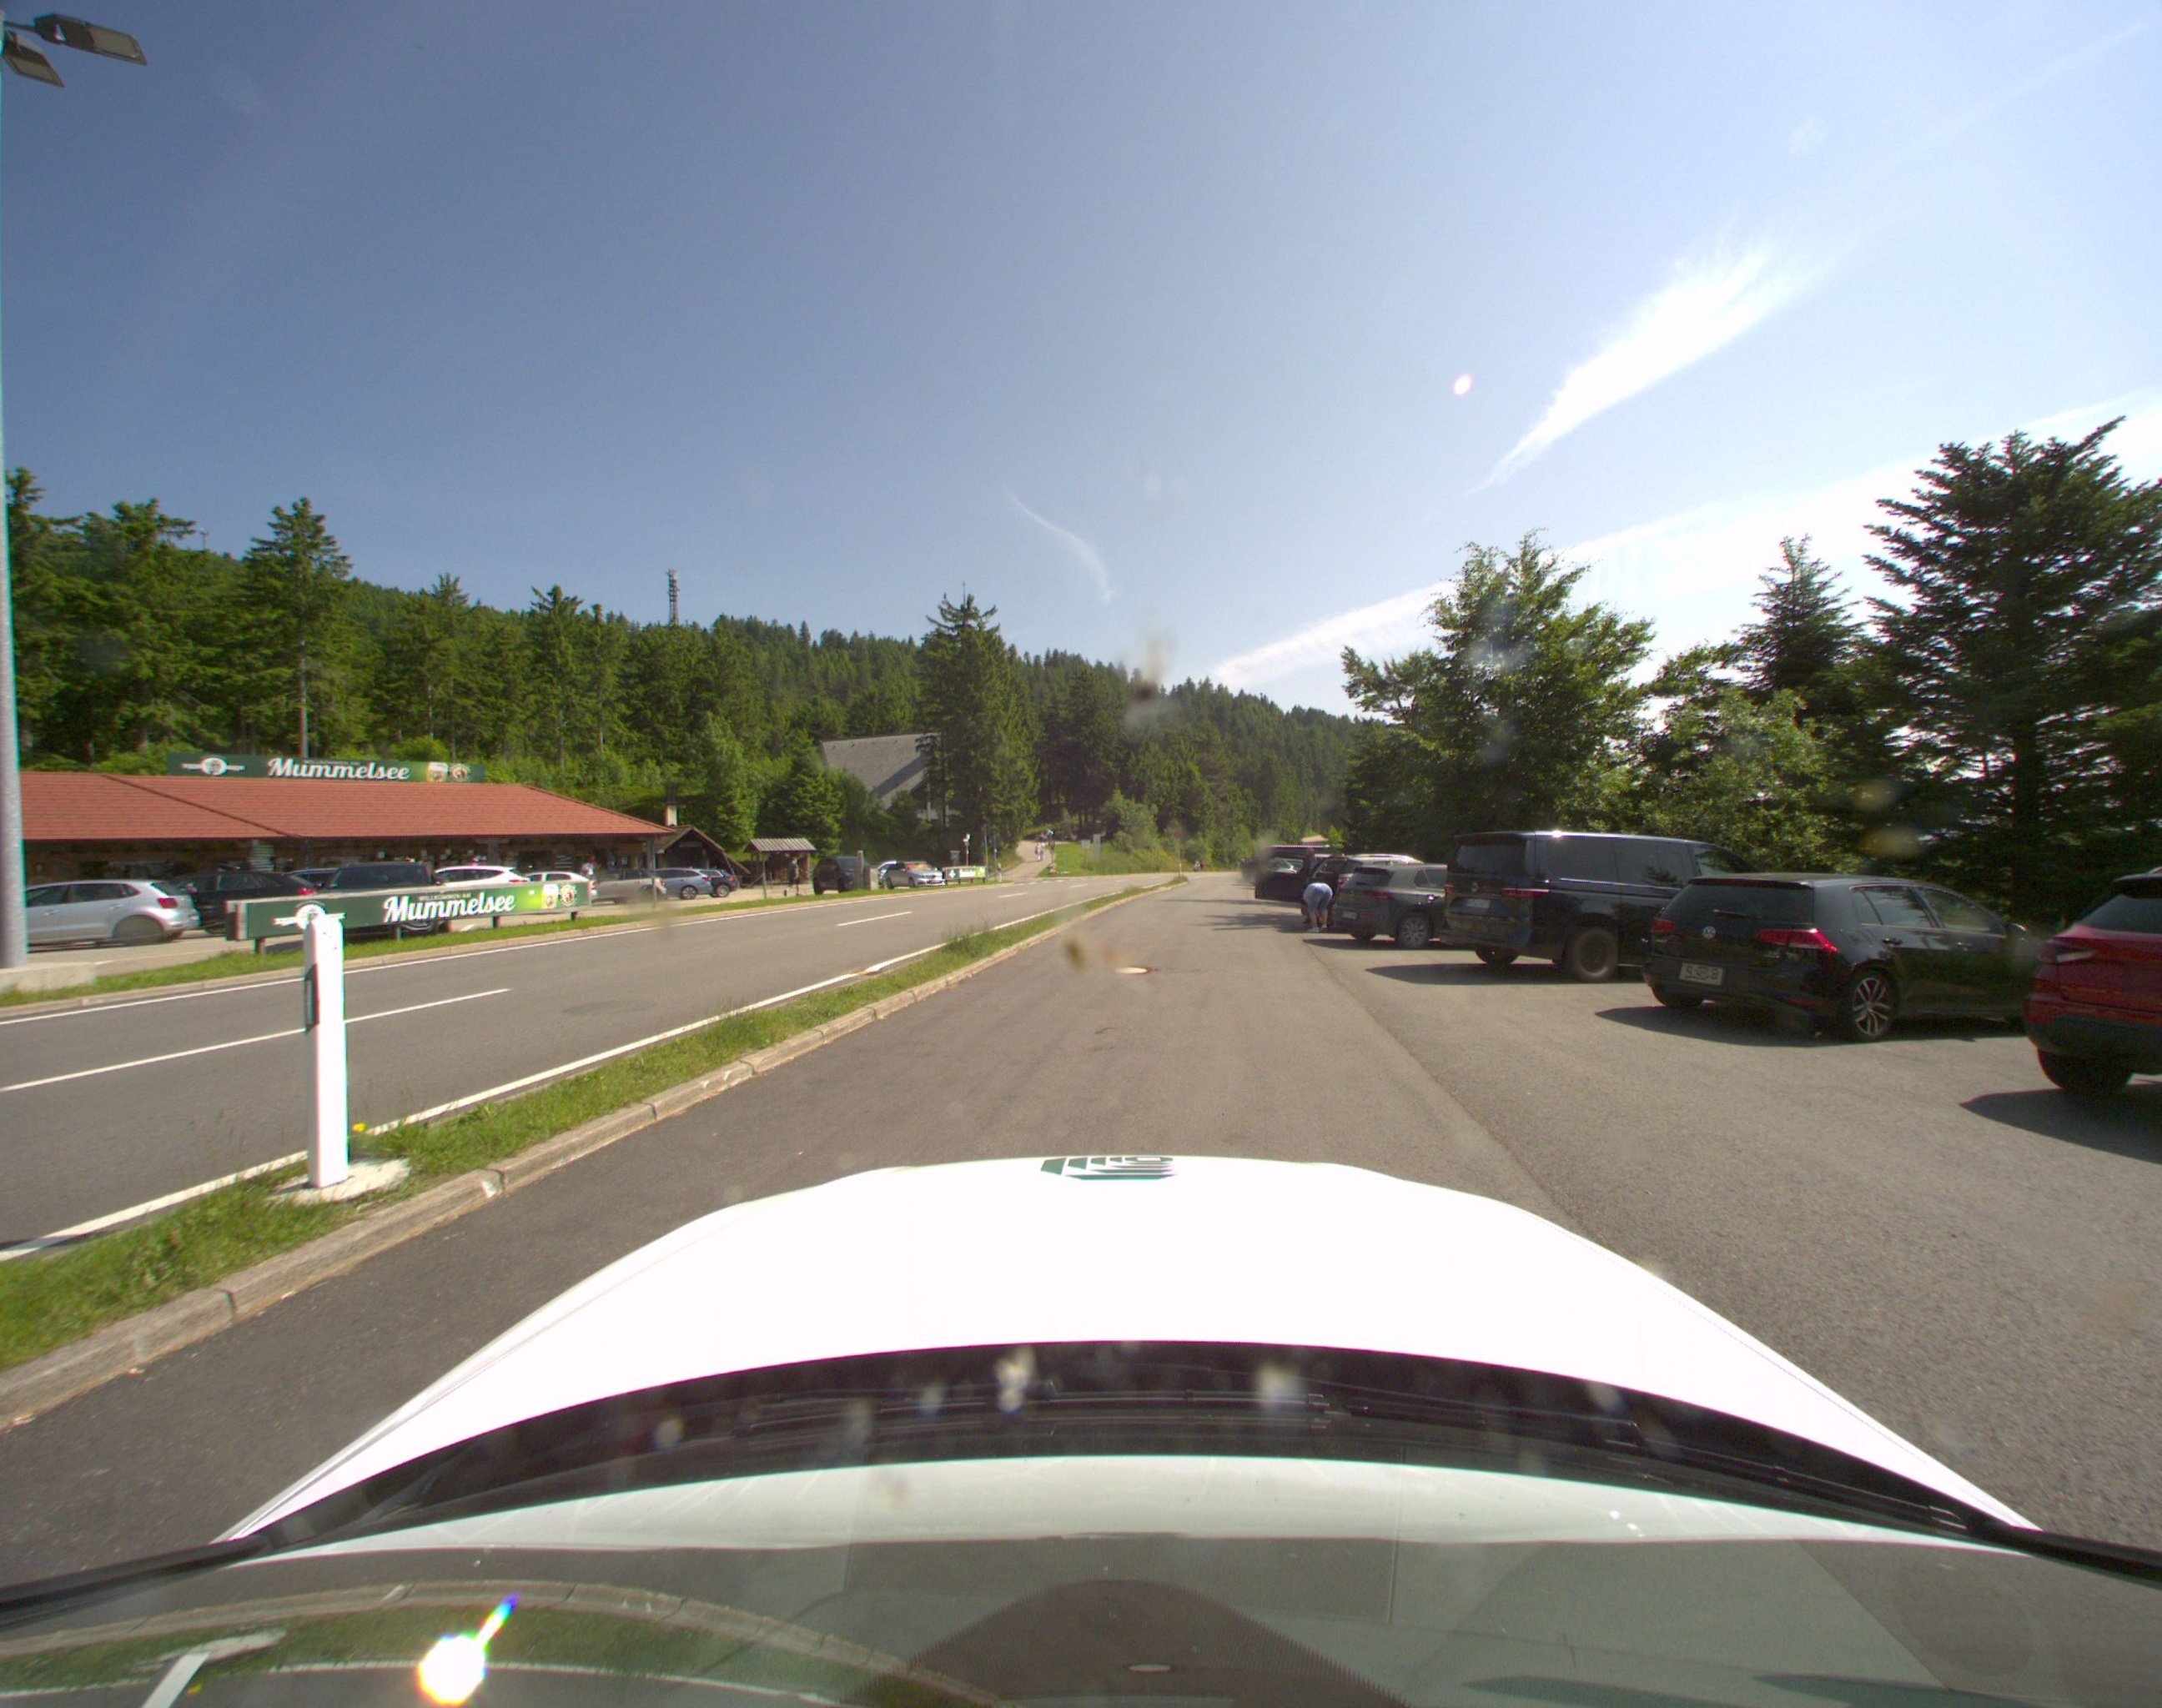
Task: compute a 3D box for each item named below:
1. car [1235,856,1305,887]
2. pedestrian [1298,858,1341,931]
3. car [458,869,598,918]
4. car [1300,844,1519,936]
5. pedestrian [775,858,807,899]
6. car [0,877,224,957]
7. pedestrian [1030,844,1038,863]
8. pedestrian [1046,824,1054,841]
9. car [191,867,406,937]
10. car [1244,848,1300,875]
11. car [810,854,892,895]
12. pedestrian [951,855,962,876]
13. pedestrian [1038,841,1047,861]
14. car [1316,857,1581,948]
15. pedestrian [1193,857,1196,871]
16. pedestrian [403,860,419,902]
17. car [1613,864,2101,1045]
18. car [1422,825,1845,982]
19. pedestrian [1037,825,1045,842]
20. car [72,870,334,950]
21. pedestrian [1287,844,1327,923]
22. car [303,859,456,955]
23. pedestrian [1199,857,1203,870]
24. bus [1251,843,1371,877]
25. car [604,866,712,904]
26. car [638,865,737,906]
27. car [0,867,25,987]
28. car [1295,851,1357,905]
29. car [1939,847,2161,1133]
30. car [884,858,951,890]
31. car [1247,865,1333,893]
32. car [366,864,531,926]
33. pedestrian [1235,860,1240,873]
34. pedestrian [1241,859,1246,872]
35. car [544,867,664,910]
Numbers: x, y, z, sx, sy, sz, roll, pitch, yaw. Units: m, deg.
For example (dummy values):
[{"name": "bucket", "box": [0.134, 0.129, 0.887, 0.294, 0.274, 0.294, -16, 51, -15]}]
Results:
[{"name": "car", "box": [11.931, 1.083, 51.713, 3.971, 1.699, 2.002, 3, 1, 3]}, {"name": "pedestrian", "box": [4.798, 0.811, 16.368, 0.767, 1.402, 0.672, -2, 1, 16]}, {"name": "car", "box": [-20.035, 1.385, 29.618, 4.043, 1.468, 1.757, -3, 0, -36]}, {"name": "car", "box": [7.065, 0.763, 17.605, 3.996, 1.662, 1.988, 4, -1, -17]}, {"name": "pedestrian", "box": [-12.863, 1.079, 36.173, 0.891, 1.734, 0.963, -2, 1, 10]}, {"name": "car", "box": [-21.432, 1.330, 17.351, 4.017, 1.420, 1.887, -3, 1, -35]}, {"name": "pedestrian", "box": [-4.226, -0.028, 73.479, 0.649, 1.667, 0.644, -2, -2, 4]}, {"name": "pedestrian", "box": [-3.758, -2.558, 97.964, 0.812, 2.013, 0.854, -2, 1, 2]}, {"name": "car", "box": [-21.700, 1.265, 22.863, 4.017, 1.574, 1.978, -3, 1, -35]}, {"name": "car", "box": [14.222, 0.534, 60.859, 3.962, 1.719, 1.873, 3, 2, 10]}, {"name": "car", "box": [-9.848, 0.867, 34.703, 1.798, 1.634, 4.161, 0, -1, -40]}, {"name": "pedestrian", "box": [-9.230, 0.830, 60.405, 0.573, 1.532, 0.554, -2, 1, 10]}, {"name": "pedestrian", "box": [-3.506, -0.243, 74.144, 0.649, 1.799, 0.644, -1, -1, 4]}, {"name": "car", "box": [6.478, 0.835, 14.530, 3.988, 1.443, 1.833, 2, 0, -11]}, {"name": "pedestrian", "box": [14.455, 1.276, 103.687, 0.412, 1.747, 0.458, -2, 1, 10]}, {"name": "pedestrian", "box": [-30.160, 1.225, 36.675, 0.531, 1.874, 0.541, 0, -1, -37]}, {"name": "car", "box": [7.534, 0.865, 7.983, 3.996, 1.415, 1.735, 1, 0, -17]}, {"name": "car", "box": [7.439, 0.648, 11.190, 4.756, 1.880, 1.961, 2, 0, -9]}, {"name": "pedestrian", "box": [-4.782, -2.407, 97.077, 0.794, 2.013, 0.941, -2, 1, 2]}, {"name": "car", "box": [-21.410, 1.281, 20.154, 4.017, 1.574, 1.979, -3, 1, -35]}, {"name": "pedestrian", "box": [5.146, 0.668, 18.549, 0.580, 1.761, 0.629, 2, -1, -19]}, {"name": "car", "box": [-13.456, 0.906, 15.853, 1.747, 1.567, 4.017, -1, 0, -34]}, {"name": "pedestrian", "box": [15.338, 1.227, 104.471, 0.392, 1.747, 0.407, -2, 1, 14]}, {"name": "bus", "box": [26.143, 0.630, 92.859, 12.741, 3.578, 3.000, 0, 2, 27]}, {"name": "car", "box": [-18.637, 1.345, 35.919, 4.016, 1.419, 1.667, -3, -1, -34]}, {"name": "car", "box": [-18.714, 1.456, 38.771, 4.015, 1.618, 1.979, -3, 1, -33]}, {"name": "car", "box": [-14.168, 0.980, 8.848, 1.788, 1.552, 3.963, -2, 1, -28]}, {"name": "car", "box": [10.144, 0.951, 34.042, 1.893, 1.972, 4.834, 3, 0, 11]}, {"name": "car", "box": [7.986, 0.810, 5.040, 3.989, 1.589, 1.856, 2, 0, -12]}, {"name": "car", "box": [-8.203, 1.004, 40.589, 1.752, 1.441, 3.926, -3, 0, -36]}, {"name": "car", "box": [11.840, 1.402, 46.291, 4.447, 1.298, 1.579, 4, 0, -6]}, {"name": "car", "box": [-20.404, 1.292, 26.489, 4.049, 1.672, 1.757, -3, 0, -36]}, {"name": "pedestrian", "box": [24.338, 1.919, 126.450, 0.618, 1.900, 0.656, -2, -2, 10]}, {"name": "pedestrian", "box": [25.065, 1.809, 125.415, 0.728, 2.014, 0.864, -2, -2, 10]}, {"name": "car", "box": [-19.149, 1.362, 32.739, 4.016, 1.419, 1.667, -3, -1, -34]}]
